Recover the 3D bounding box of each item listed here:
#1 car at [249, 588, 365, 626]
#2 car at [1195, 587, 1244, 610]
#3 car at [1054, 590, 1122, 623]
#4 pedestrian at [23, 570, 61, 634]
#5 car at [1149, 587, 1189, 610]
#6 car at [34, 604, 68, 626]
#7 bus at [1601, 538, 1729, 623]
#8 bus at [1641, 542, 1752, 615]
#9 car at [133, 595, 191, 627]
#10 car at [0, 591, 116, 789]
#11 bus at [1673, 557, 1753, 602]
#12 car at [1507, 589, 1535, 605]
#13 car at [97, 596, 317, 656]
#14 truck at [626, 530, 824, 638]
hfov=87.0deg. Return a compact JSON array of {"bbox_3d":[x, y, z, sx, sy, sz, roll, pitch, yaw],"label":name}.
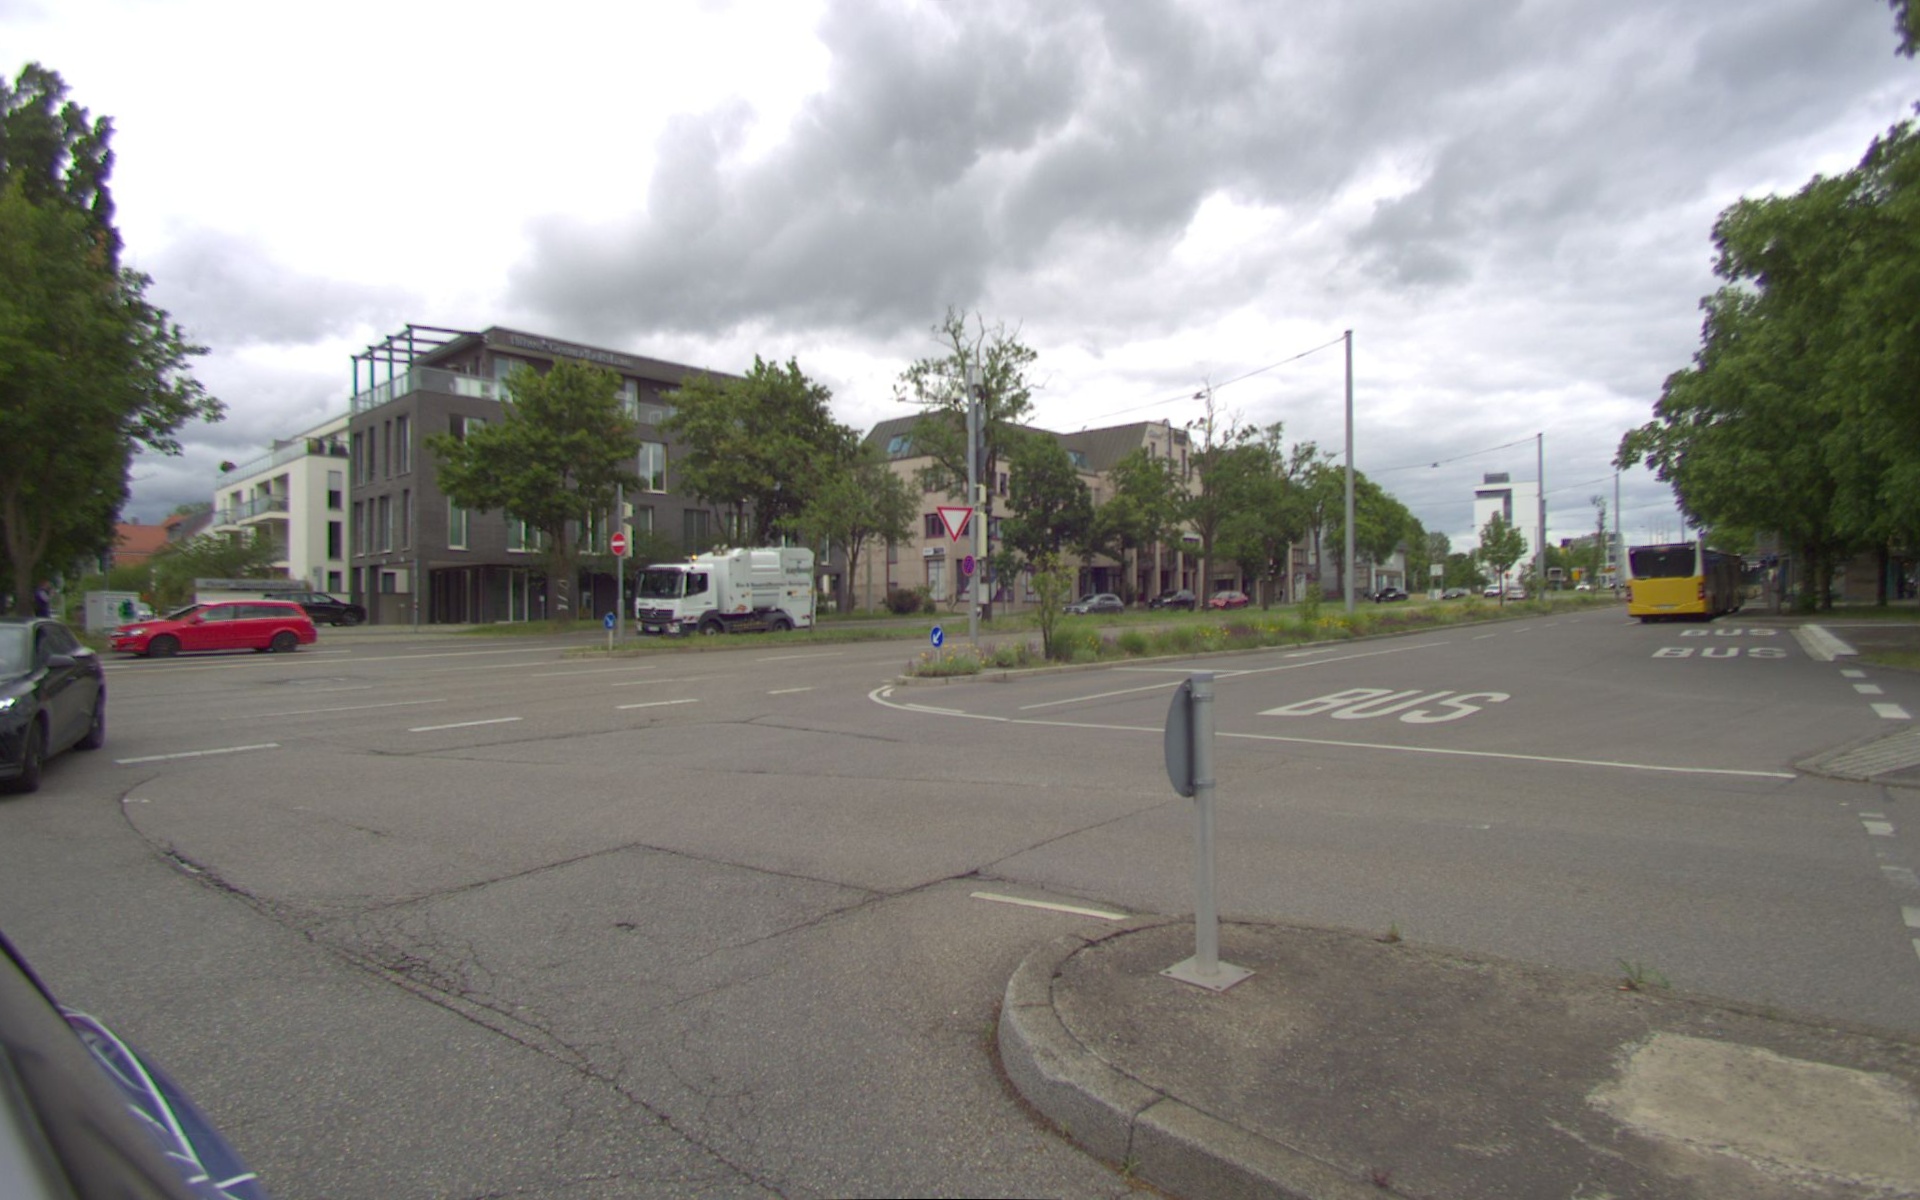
[{"bbox_3d":[-29.533,0.339,45.856,1.999,1.613,4.068,-3,-3,42],"label":"car"},{"bbox_3d":[18.500,-0.064,71.918,1.823,1.497,4.322,-2,-3,37],"label":"car"},{"bbox_3d":[7.403,0.336,58.118,1.995,1.707,4.550,-2,0,35],"label":"car"},{"bbox_3d":[-26.522,0.056,29.237,0.739,1.811,0.671,-2,0,-45],"label":"pedestrian"},{"bbox_3d":[15.008,-0.086,72.416,1.763,1.497,3.865,-2,-2,28],"label":"car"},{"bbox_3d":[-71.735,1.188,79.835,1.928,1.563,3.969,-2,0,-42],"label":"car"},{"bbox_3d":[28.479,-0.790,40.694,3.053,3.031,8.312,-2,0,43],"label":"bus"},{"bbox_3d":[34.620,-1.016,47.387,3.053,3.031,9.561,-2,0,42],"label":"bus"},{"bbox_3d":[-46.088,0.649,58.425,3.824,1.652,1.853,-2,0,40],"label":"car"},{"bbox_3d":[-9.530,0.709,9.517,1.770,1.494,4.032,2,1,-30],"label":"car"},{"bbox_3d":[56.065,-1.581,75.198,3.298,3.031,10.081,-2,0,45],"label":"bus"},{"bbox_3d":[60.966,-0.310,109.982,1.750,1.540,3.696,-2,0,43],"label":"car"},{"bbox_3d":[-19.762,0.619,26.733,1.996,1.434,4.303,0,0,36],"label":"car"},{"bbox_3d":[-7.649,-0.526,33.703,2.433,3.219,6.388,2,1,36],"label":"truck"}]
